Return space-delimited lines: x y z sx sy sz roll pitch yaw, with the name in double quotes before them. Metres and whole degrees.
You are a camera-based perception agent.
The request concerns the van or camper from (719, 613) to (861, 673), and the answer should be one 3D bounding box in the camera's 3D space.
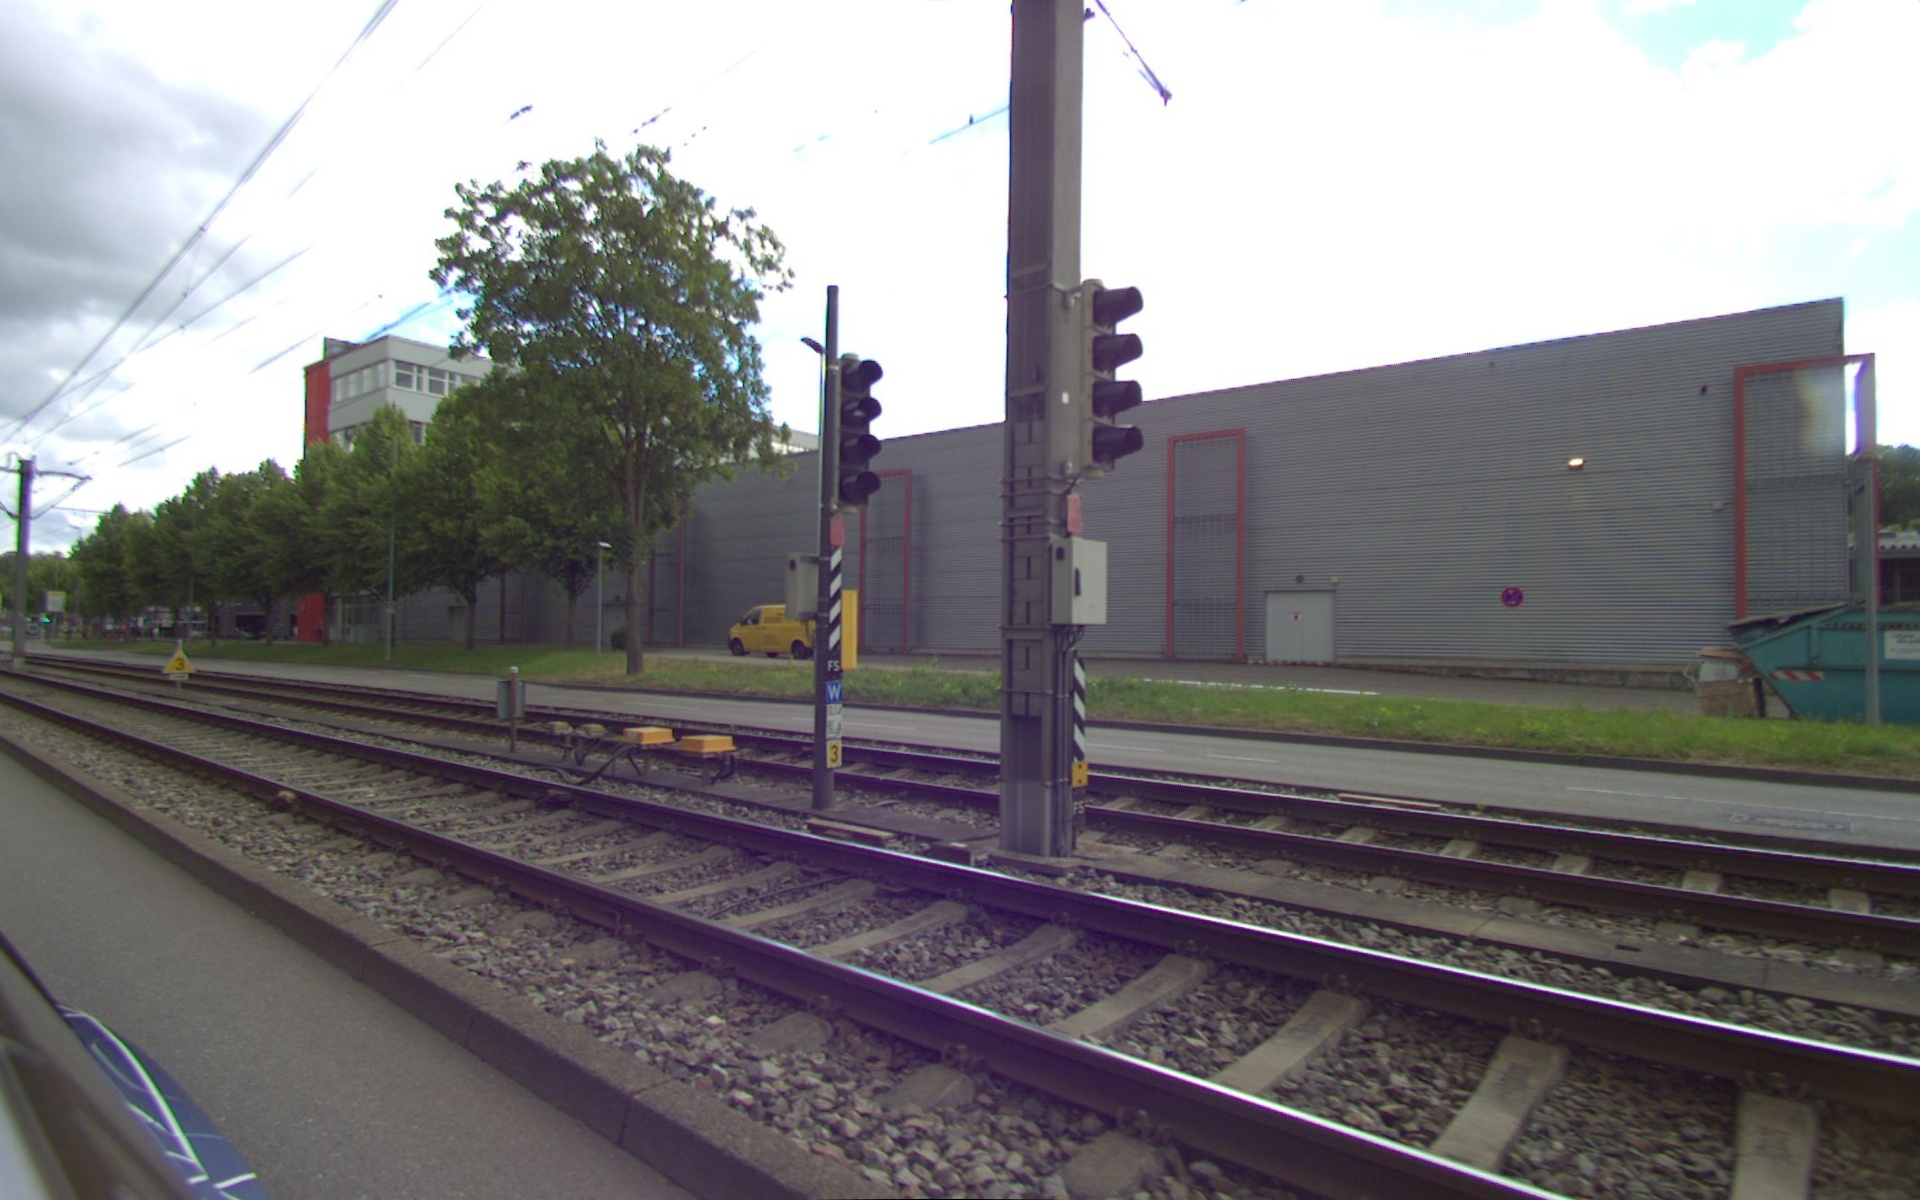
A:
"van or camper" -6.208 1.541 36.529 5.235 2.029 2.083 -2 -3 38
